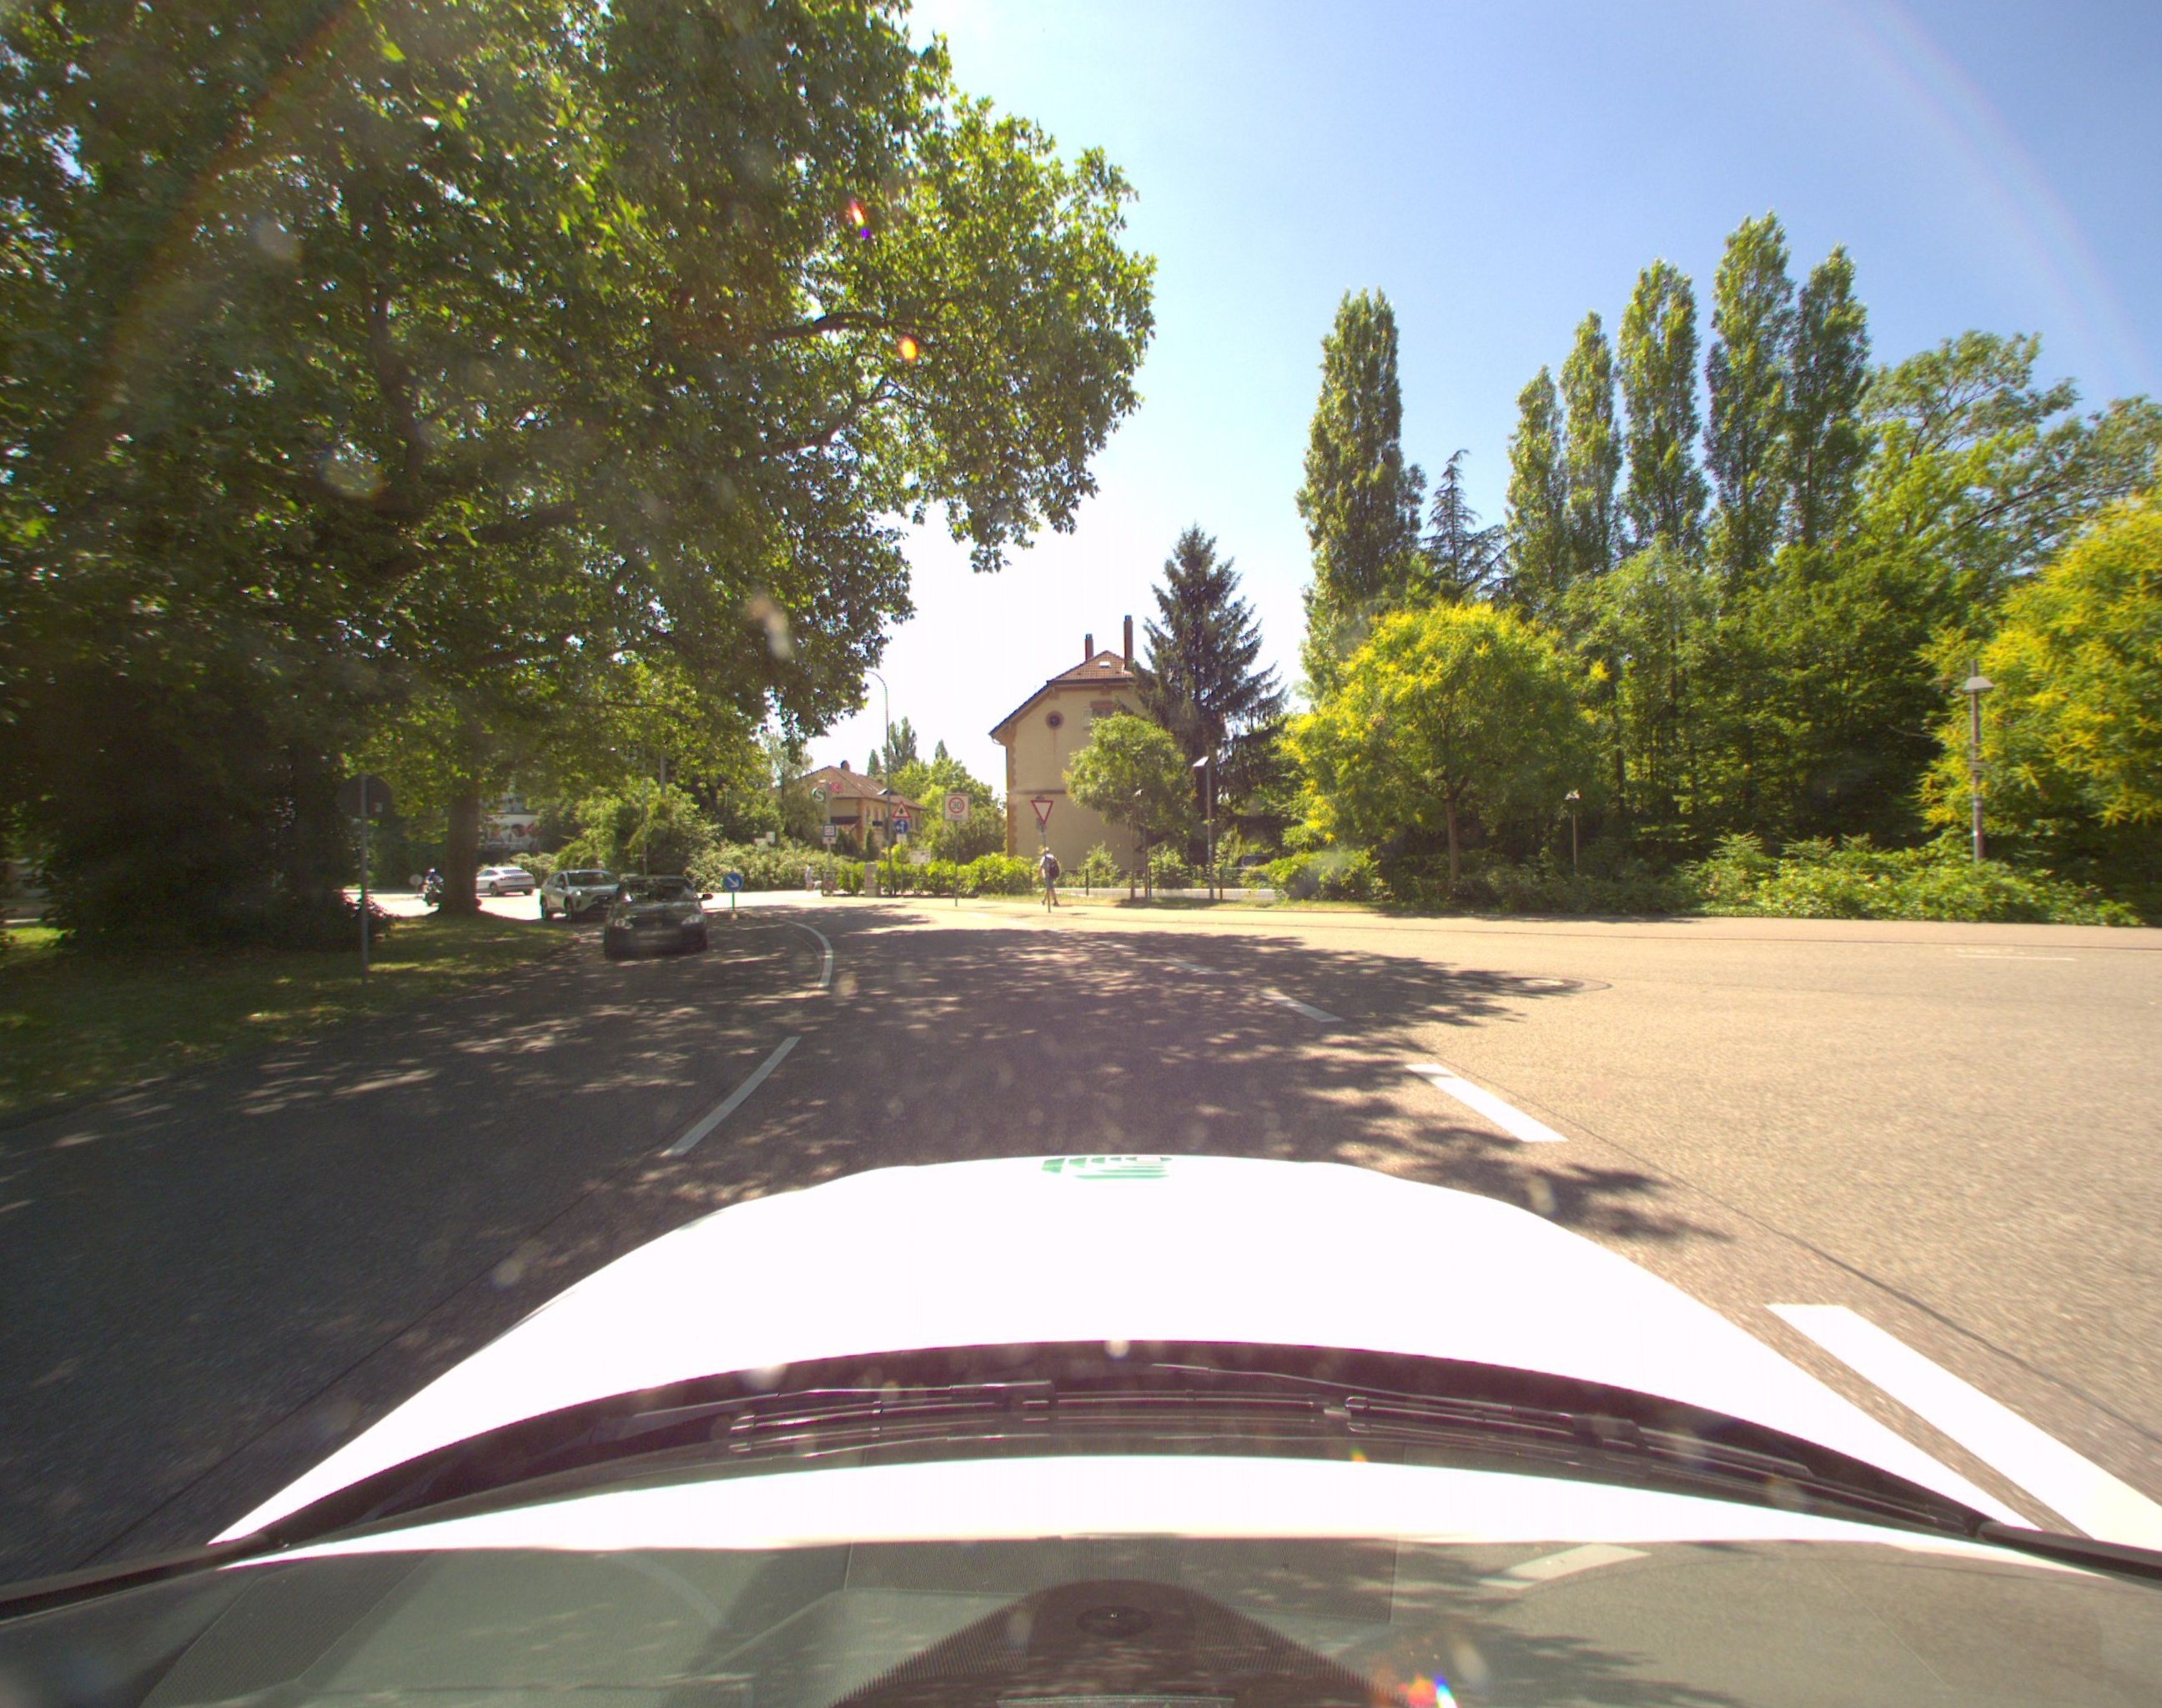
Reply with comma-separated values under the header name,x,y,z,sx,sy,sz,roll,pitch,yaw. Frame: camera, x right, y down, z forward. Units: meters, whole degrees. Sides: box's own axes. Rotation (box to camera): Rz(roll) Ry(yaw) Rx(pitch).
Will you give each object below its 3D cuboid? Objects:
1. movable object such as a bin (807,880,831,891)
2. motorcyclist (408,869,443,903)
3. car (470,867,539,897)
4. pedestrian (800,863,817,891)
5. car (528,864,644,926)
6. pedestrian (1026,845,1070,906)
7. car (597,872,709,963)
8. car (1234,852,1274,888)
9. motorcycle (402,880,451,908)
name,x,y,z,sx,sy,sz,roll,pitch,yaw
movable object such as a bin,-15.158,1.801,47.071,0.510,0.594,1.251,-1,0,39
motorcyclist,-30.724,1.478,38.188,1.092,1.555,0.814,-1,-1,20
car,-33.033,1.650,46.641,4.413,1.615,1.954,-2,-5,38
pedestrian,-15.899,1.346,47.507,0.691,1.627,0.621,0,0,38
car,-16.093,1.283,26.401,4.268,1.747,2.062,-2,1,43
pedestrian,-1.014,0.659,24.943,0.919,1.771,0.905,-4,1,-35
car,-8.313,1.106,15.743,1.651,1.417,3.962,-3,0,-30
car,8.019,0.714,37.978,1.640,1.536,3.980,-1,0,9
motorcycle,-30.652,1.880,38.162,2.027,1.231,0.814,-1,-1,19
